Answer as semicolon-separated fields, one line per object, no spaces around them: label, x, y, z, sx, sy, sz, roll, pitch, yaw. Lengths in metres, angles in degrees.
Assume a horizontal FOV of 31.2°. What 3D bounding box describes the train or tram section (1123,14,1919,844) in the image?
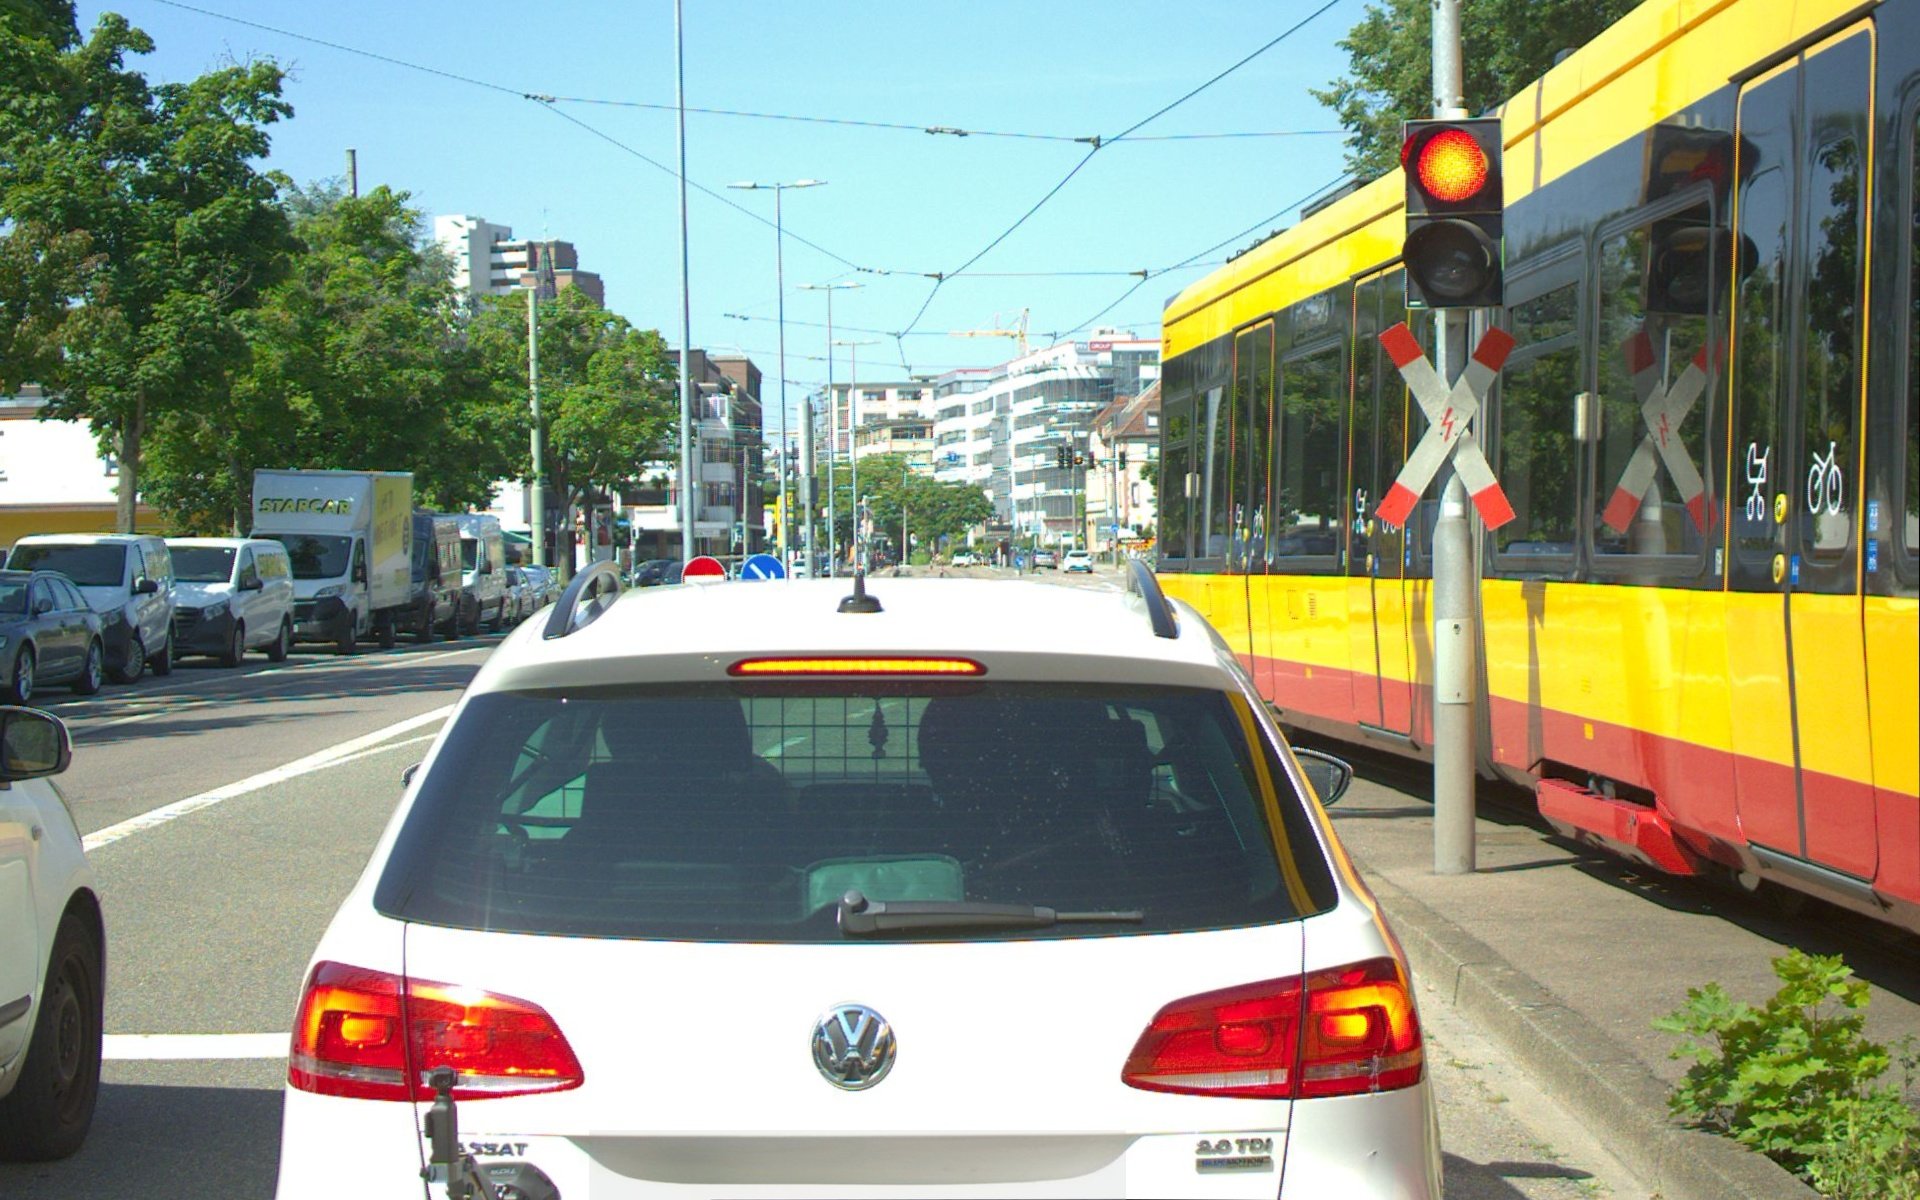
train or tram section;3.161;-0.910;21.405;2.870;3.842;10.540;-1;1;-5

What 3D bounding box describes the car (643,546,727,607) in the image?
car;-7.072;-0.625;88.885;1.705;1.468;4.589;-2;1;1

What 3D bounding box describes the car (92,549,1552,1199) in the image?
car;-0.180;0.651;6.201;1.762;1.425;4.000;-1;1;-1

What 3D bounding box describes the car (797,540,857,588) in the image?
car;-4.352;-1.197;112.799;1.705;1.468;4.589;-2;1;1

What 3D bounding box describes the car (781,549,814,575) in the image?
car;-9.809;-2.327;208.007;1.705;1.468;4.589;-2;1;1

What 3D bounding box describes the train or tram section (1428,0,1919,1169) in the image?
train or tram section;3.736;-0.581;9.883;2.870;3.842;12.392;-1;1;-1

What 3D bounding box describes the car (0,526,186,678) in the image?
car;-11.472;-0.029;45.311;1.863;1.861;5.075;1;1;-6

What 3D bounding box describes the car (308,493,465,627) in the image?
car;-11.328;-0.807;68.319;2.123;2.508;5.733;1;1;0

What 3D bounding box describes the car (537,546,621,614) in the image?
car;-10.900;-0.598;98.603;1.863;1.861;5.414;1;1;-1

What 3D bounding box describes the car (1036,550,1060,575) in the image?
car;6.689;-2.886;261.748;1.674;1.857;3.731;1;1;-1

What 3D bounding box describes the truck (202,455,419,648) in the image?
truck;-11.285;-0.868;60.318;2.421;3.139;6.997;1;1;0

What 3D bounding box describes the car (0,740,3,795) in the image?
car;-6.637;0.476;19.005;1.676;1.548;3.580;-3;1;-1

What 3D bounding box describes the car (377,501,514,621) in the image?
car;-11.276;-0.878;75.756;2.123;2.508;5.733;1;1;0

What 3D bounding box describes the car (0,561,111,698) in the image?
car;-11.022;0.284;38.781;1.863;1.411;4.280;1;1;-1

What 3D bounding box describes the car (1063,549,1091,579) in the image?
car;7.487;-2.296;219.722;1.608;1.857;3.731;1;1;-1

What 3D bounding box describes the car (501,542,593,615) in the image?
car;-10.980;-0.605;91.685;1.863;1.861;5.414;1;1;-1

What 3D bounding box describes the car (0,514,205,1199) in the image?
car;-2.964;0.587;7.360;1.662;1.542;4.547;0;1;0

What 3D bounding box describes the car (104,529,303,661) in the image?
car;-11.346;-0.123;51.904;1.863;1.861;5.414;1;1;-1
